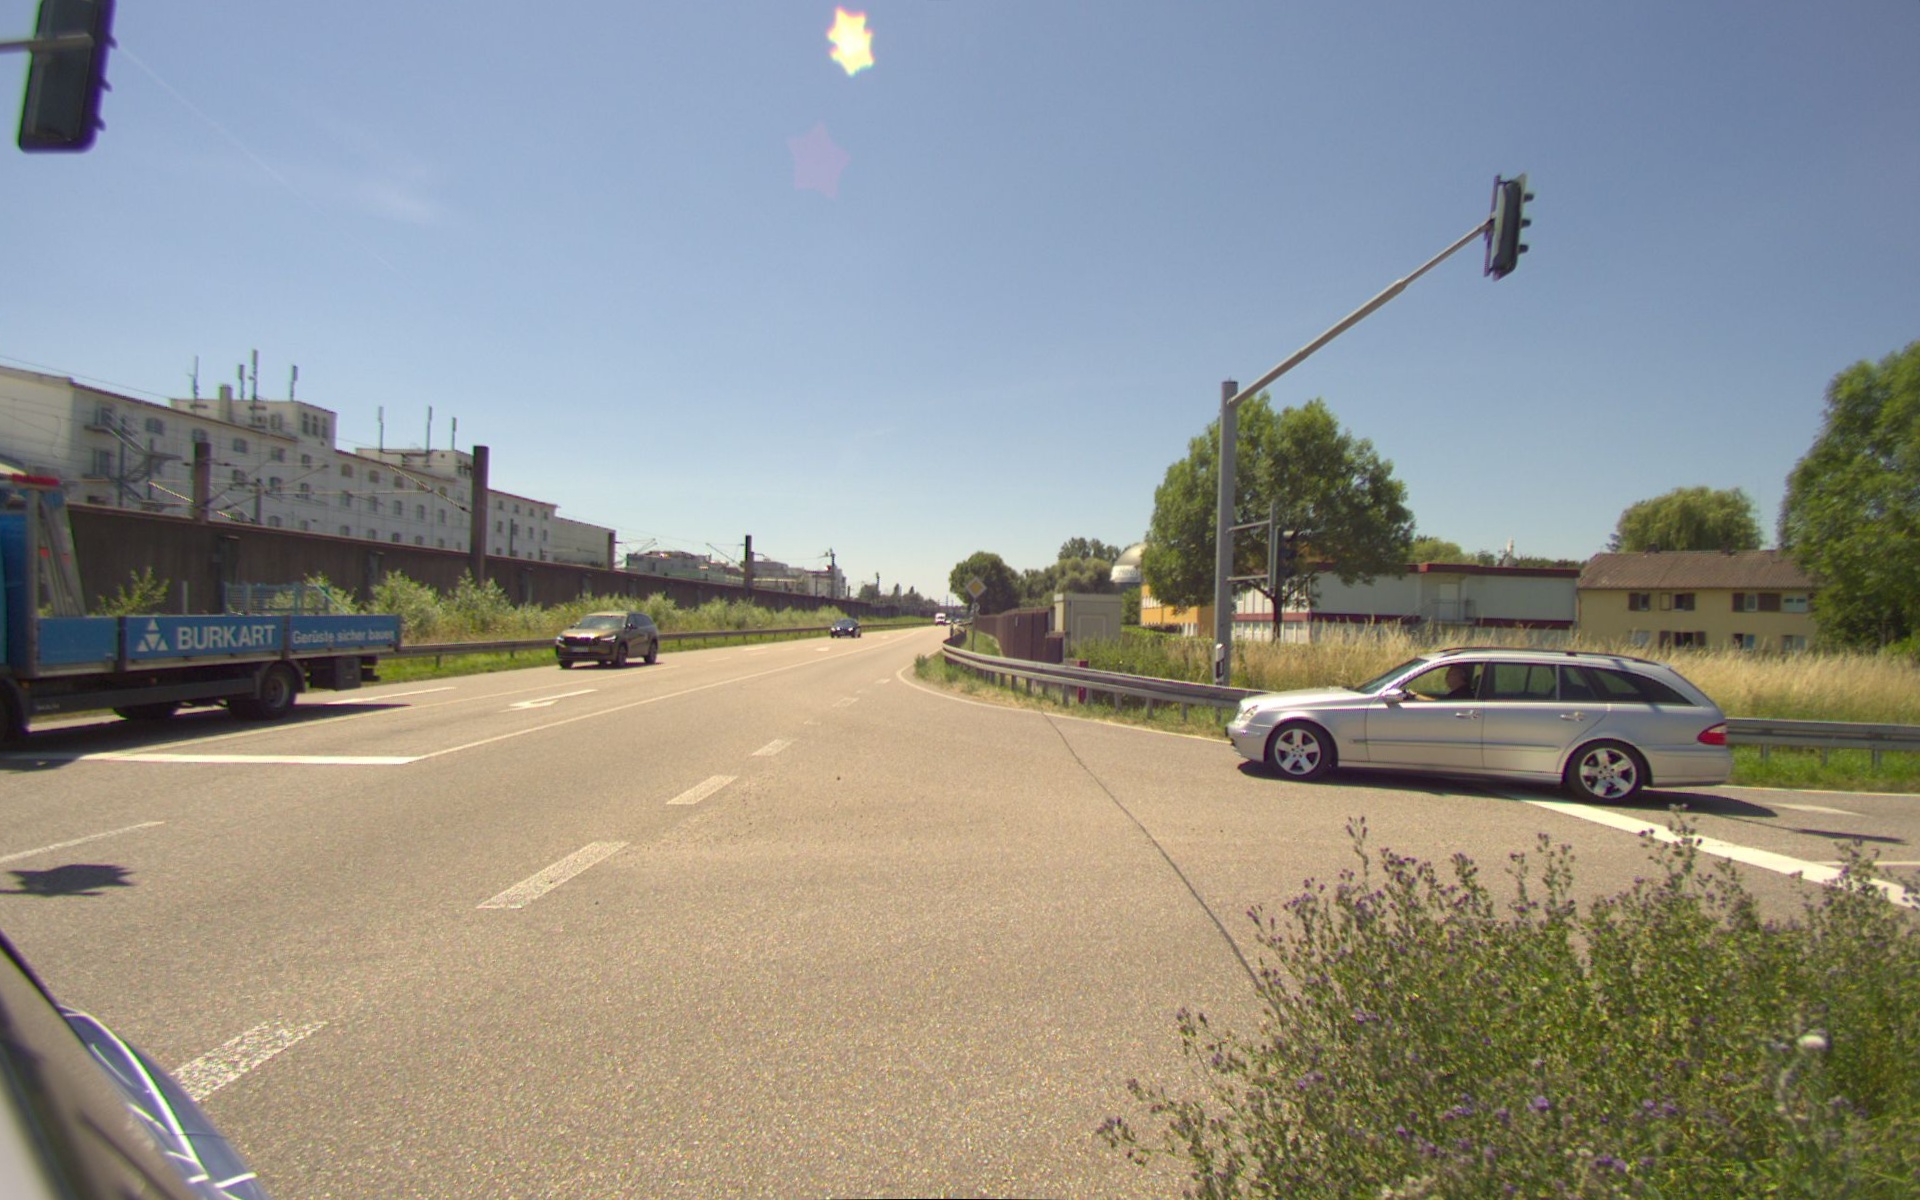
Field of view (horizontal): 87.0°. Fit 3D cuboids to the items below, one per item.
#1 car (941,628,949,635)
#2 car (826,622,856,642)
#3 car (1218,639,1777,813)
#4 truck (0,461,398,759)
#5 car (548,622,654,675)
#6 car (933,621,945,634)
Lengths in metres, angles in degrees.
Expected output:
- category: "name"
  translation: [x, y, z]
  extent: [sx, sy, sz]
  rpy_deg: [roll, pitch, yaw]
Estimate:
- category: "car"
  translation: [-3.384, 7.096, 228.230]
  extent: [1.707, 1.484, 4.354]
  rpy_deg: [1, -1, 2]
- category: "car"
  translation: [-9.041, 2.398, 77.033]
  extent: [1.707, 1.484, 3.887]
  rpy_deg: [1, -1, 2]
- category: "car"
  translation: [5.365, 1.211, 10.871]
  extent: [4.929, 1.468, 1.866]
  rpy_deg: [0, -1, 18]
- category: "truck"
  translation: [-11.112, 0.127, 12.144]
  extent: [2.583, 3.065, 10.650]
  rpy_deg: [1, -1, 1]
- category: "car"
  translation: [-10.756, 1.416, 30.641]
  extent: [1.707, 1.484, 4.176]
  rpy_deg: [1, -1, 0]
- category: "car"
  translation: [-4.182, 5.580, 204.809]
  extent: [2.177, 2.579, 5.220]
  rpy_deg: [1, -1, 2]
